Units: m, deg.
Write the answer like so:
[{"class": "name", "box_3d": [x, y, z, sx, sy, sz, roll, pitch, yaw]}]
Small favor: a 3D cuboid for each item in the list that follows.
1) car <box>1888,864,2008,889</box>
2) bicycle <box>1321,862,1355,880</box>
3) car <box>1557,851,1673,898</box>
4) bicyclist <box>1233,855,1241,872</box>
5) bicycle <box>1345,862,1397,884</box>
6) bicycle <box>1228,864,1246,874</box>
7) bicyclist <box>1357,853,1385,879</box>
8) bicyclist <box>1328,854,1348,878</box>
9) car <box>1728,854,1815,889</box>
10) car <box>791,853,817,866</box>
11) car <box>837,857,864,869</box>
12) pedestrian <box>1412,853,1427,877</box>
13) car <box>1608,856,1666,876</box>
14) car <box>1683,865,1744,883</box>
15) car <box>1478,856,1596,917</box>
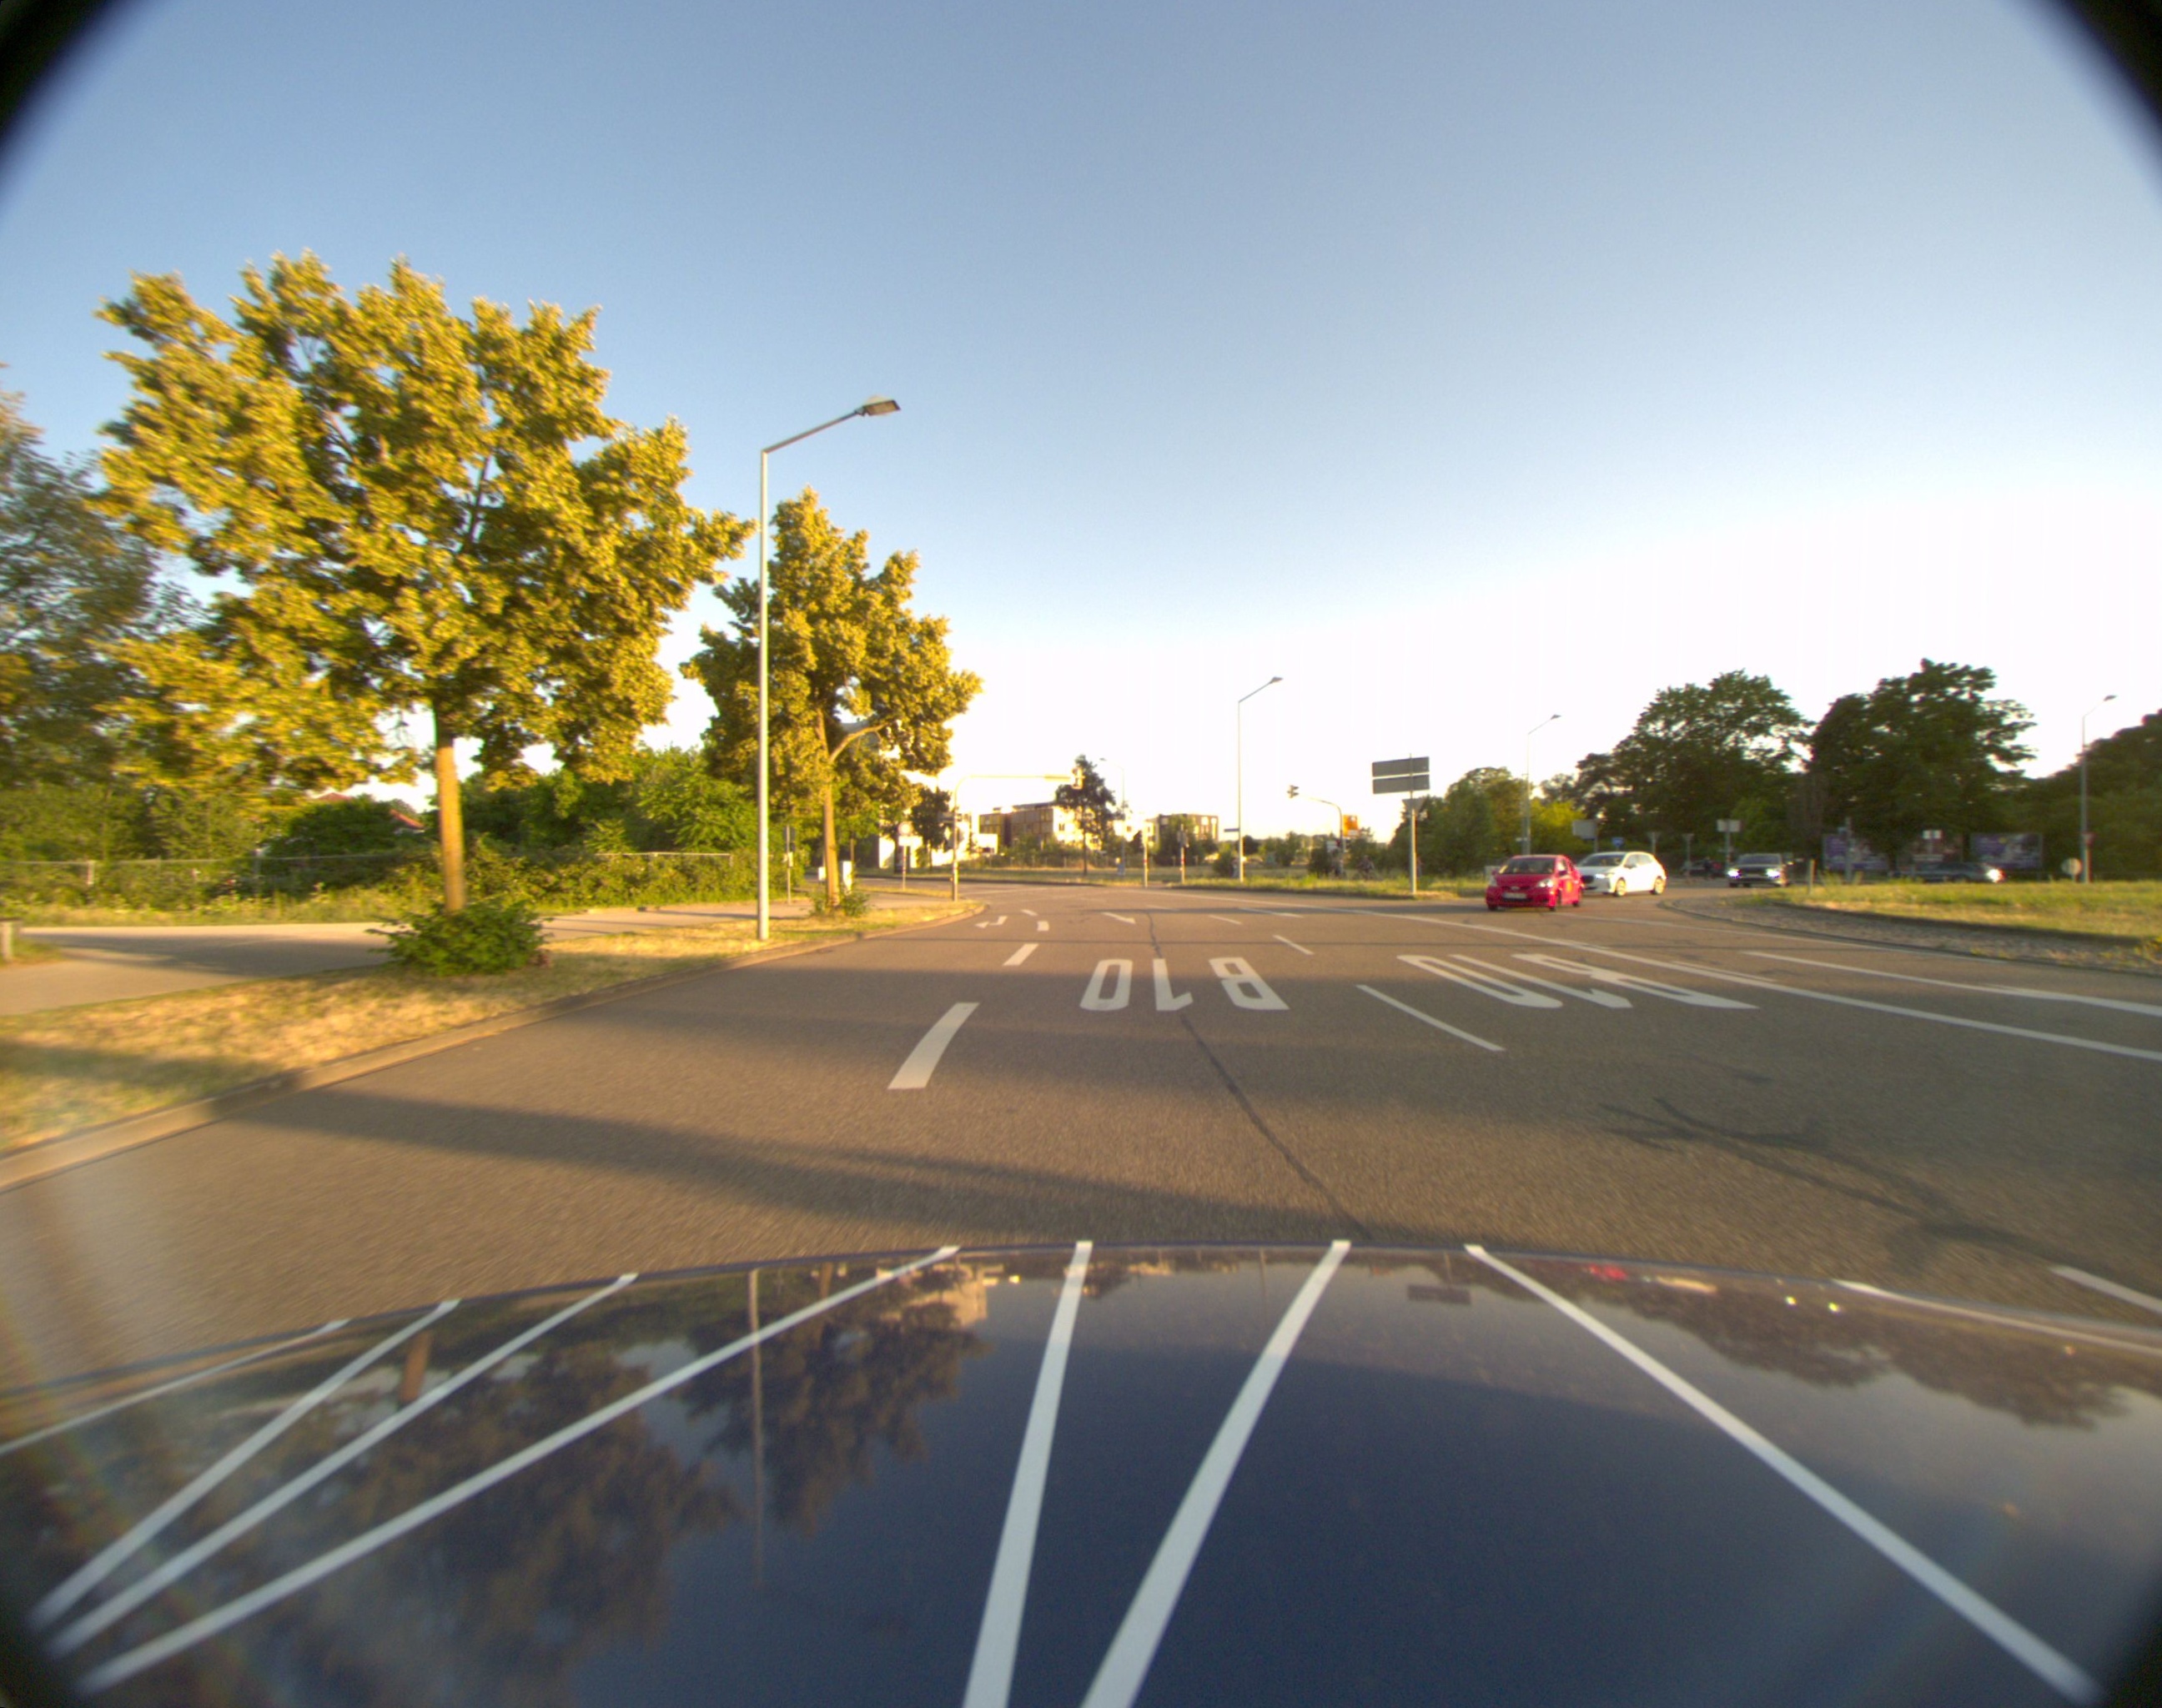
[{"class": "car", "box_3d": [52.495, 1.341, 46.124, 1.946, 1.423, 4.397, 0, -1, -17]}, {"class": "bicycle", "box_3d": [17.698, 1.184, 52.274, 2.332, 1.172, 0.809, 0, 1, -29]}, {"class": "car", "box_3d": [18.845, 0.687, 26.767, 4.222, 1.549, 1.756, 0, 0, -31]}, {"class": "bicyclist", "box_3d": [12.802, 0.813, 62.282, 0.475, 1.389, 0.447, -1, 0, -44]}, {"class": "bicycle", "box_3d": [19.468, 1.245, 50.940, 3.544, 1.387, 1.121, 0, 1, -26]}, {"class": "bicycle", "box_3d": [12.785, 1.223, 62.288, 0.475, 0.787, 1.414, 0, 0, -44]}, {"class": "bicyclist", "box_3d": [19.451, 0.808, 51.007, 1.419, 1.739, 1.121, 0, 1, -26]}, {"class": "bicyclist", "box_3d": [17.660, 0.799, 52.232, 1.002, 1.623, 0.809, -1, 1, -29]}, {"class": "car", "box_3d": [32.403, 0.802, 35.625, 4.221, 1.549, 1.824, 0, 0, -30]}, {"class": "car", "box_3d": [-38.044, 0.821, 104.214, 2.004, 1.740, 4.120, 0, -1, -41]}, {"class": "car", "box_3d": [-31.178, 1.222, 102.702, 2.004, 1.538, 4.120, 0, -1, -41]}, {"class": "pedestrian", "box_3d": [24.185, 0.797, 54.344, 0.888, 1.691, 0.722, 0, 0, 31]}, {"class": "car", "box_3d": [43.618, 0.904, 59.746, 1.839, 1.492, 4.257, 0, 0, 7]}, {"class": "car", "box_3d": [51.525, 1.602, 61.966, 1.943, 1.423, 3.751, 0, 0, 2]}, {"class": "car", "box_3d": [12.237, 0.782, 20.278, 4.220, 1.413, 1.690, -1, 0, -45]}]
